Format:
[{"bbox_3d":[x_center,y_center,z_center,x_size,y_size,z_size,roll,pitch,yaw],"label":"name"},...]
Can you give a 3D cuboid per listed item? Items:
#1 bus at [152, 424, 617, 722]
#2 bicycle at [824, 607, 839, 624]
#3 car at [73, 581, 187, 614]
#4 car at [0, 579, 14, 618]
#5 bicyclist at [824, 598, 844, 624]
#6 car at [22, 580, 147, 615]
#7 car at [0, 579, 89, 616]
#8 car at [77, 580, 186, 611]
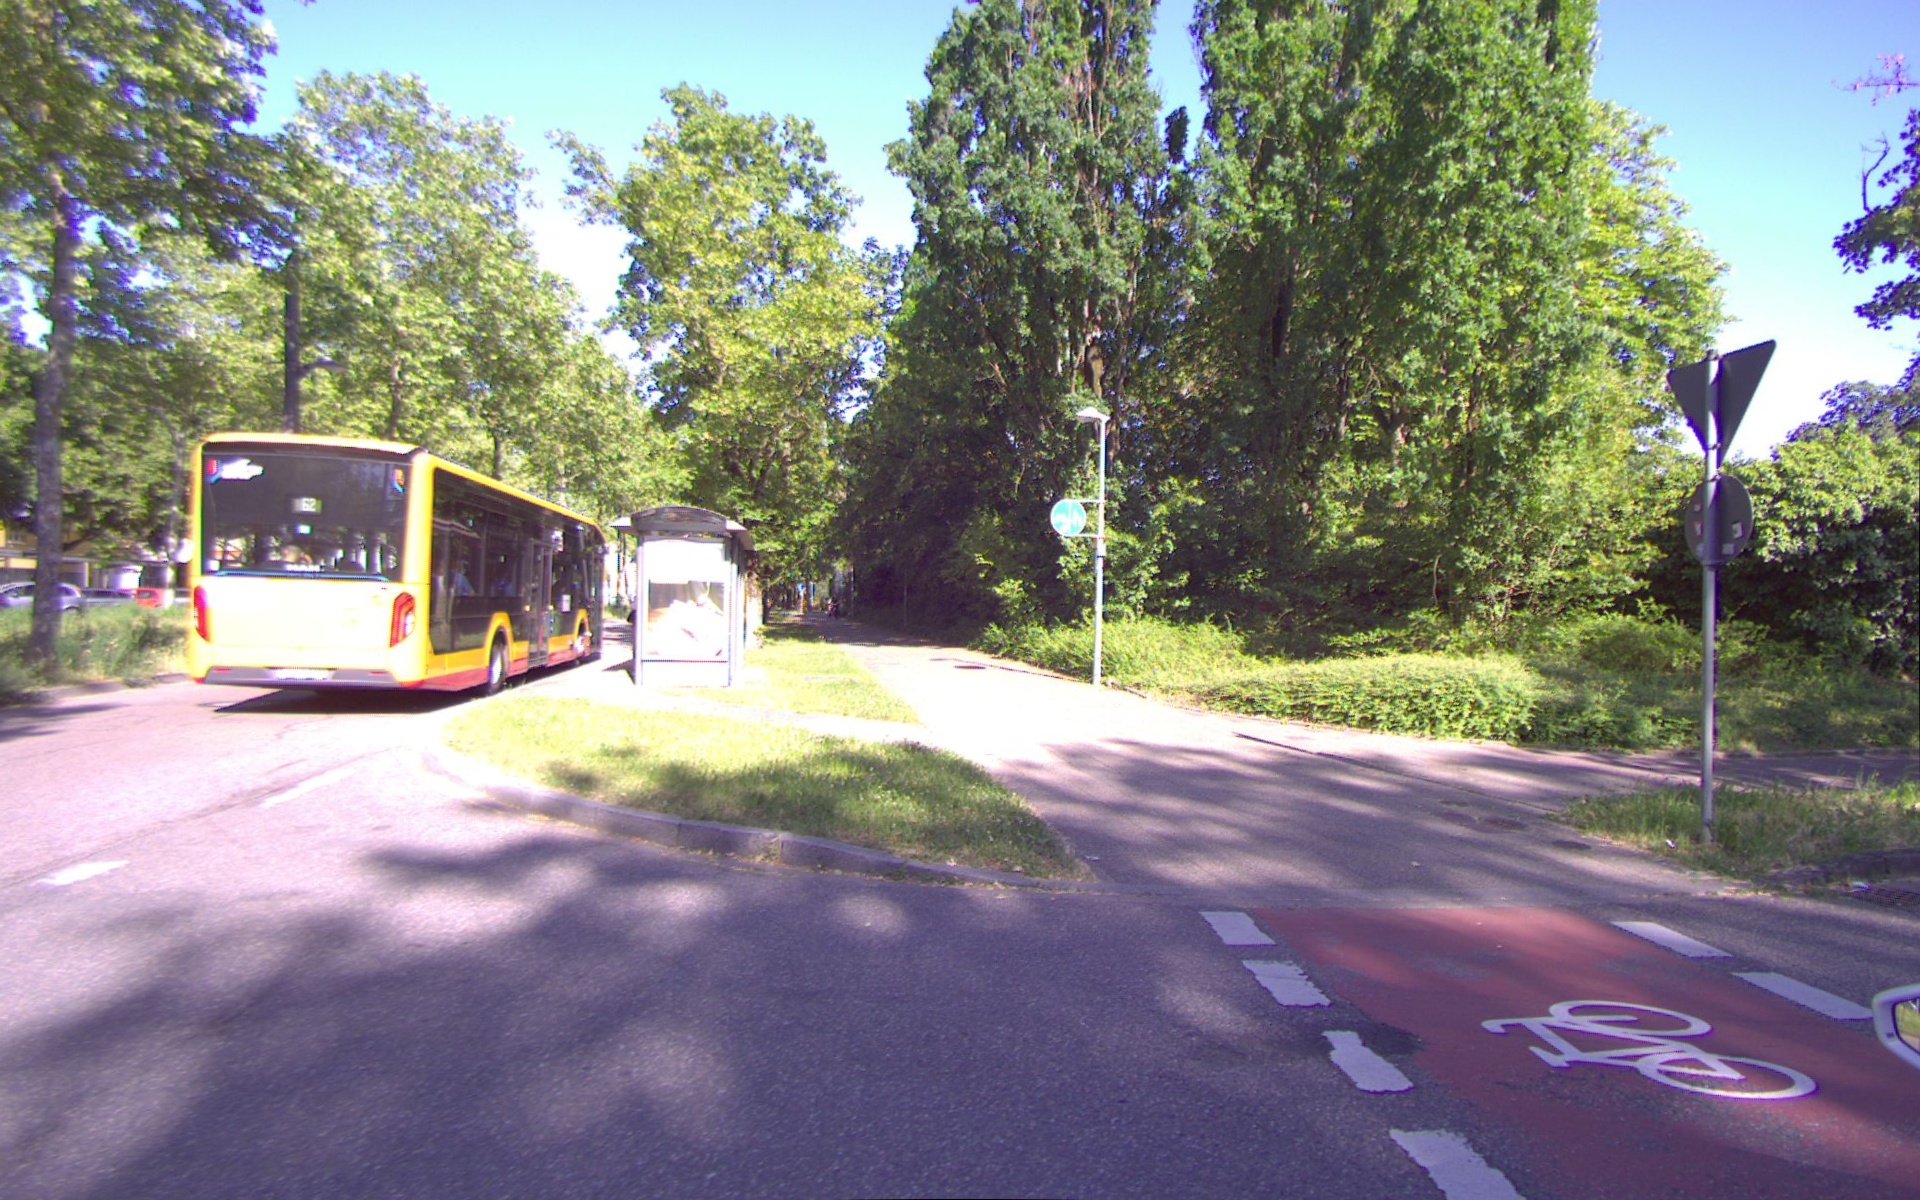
[{"bbox_3d":[-8.523,-0.268,17.408,2.857,3.310,12.196,1,0,-9],"label":"bus"},{"bbox_3d":[-8.651,1.020,67.584,0.746,1.122,1.793,1,0,-17],"label":"bicycle"},{"bbox_3d":[-40.782,-0.099,49.446,1.770,1.530,3.988,1,0,34],"label":"car"},{"bbox_3d":[-39.061,-0.098,38.423,1.772,1.530,3.984,1,0,38],"label":"car"},{"bbox_3d":[-8.467,0.747,67.697,1.164,1.683,1.025,1,0,-17],"label":"bicyclist"},{"bbox_3d":[-39.945,-0.094,45.908,1.770,1.530,3.988,1,0,34],"label":"car"},{"bbox_3d":[-39.294,-0.104,42.015,1.770,1.530,3.988,1,0,34],"label":"car"},{"bbox_3d":[-42.215,-0.207,51.253,1.770,1.530,3.988,1,0,34],"label":"car"}]
